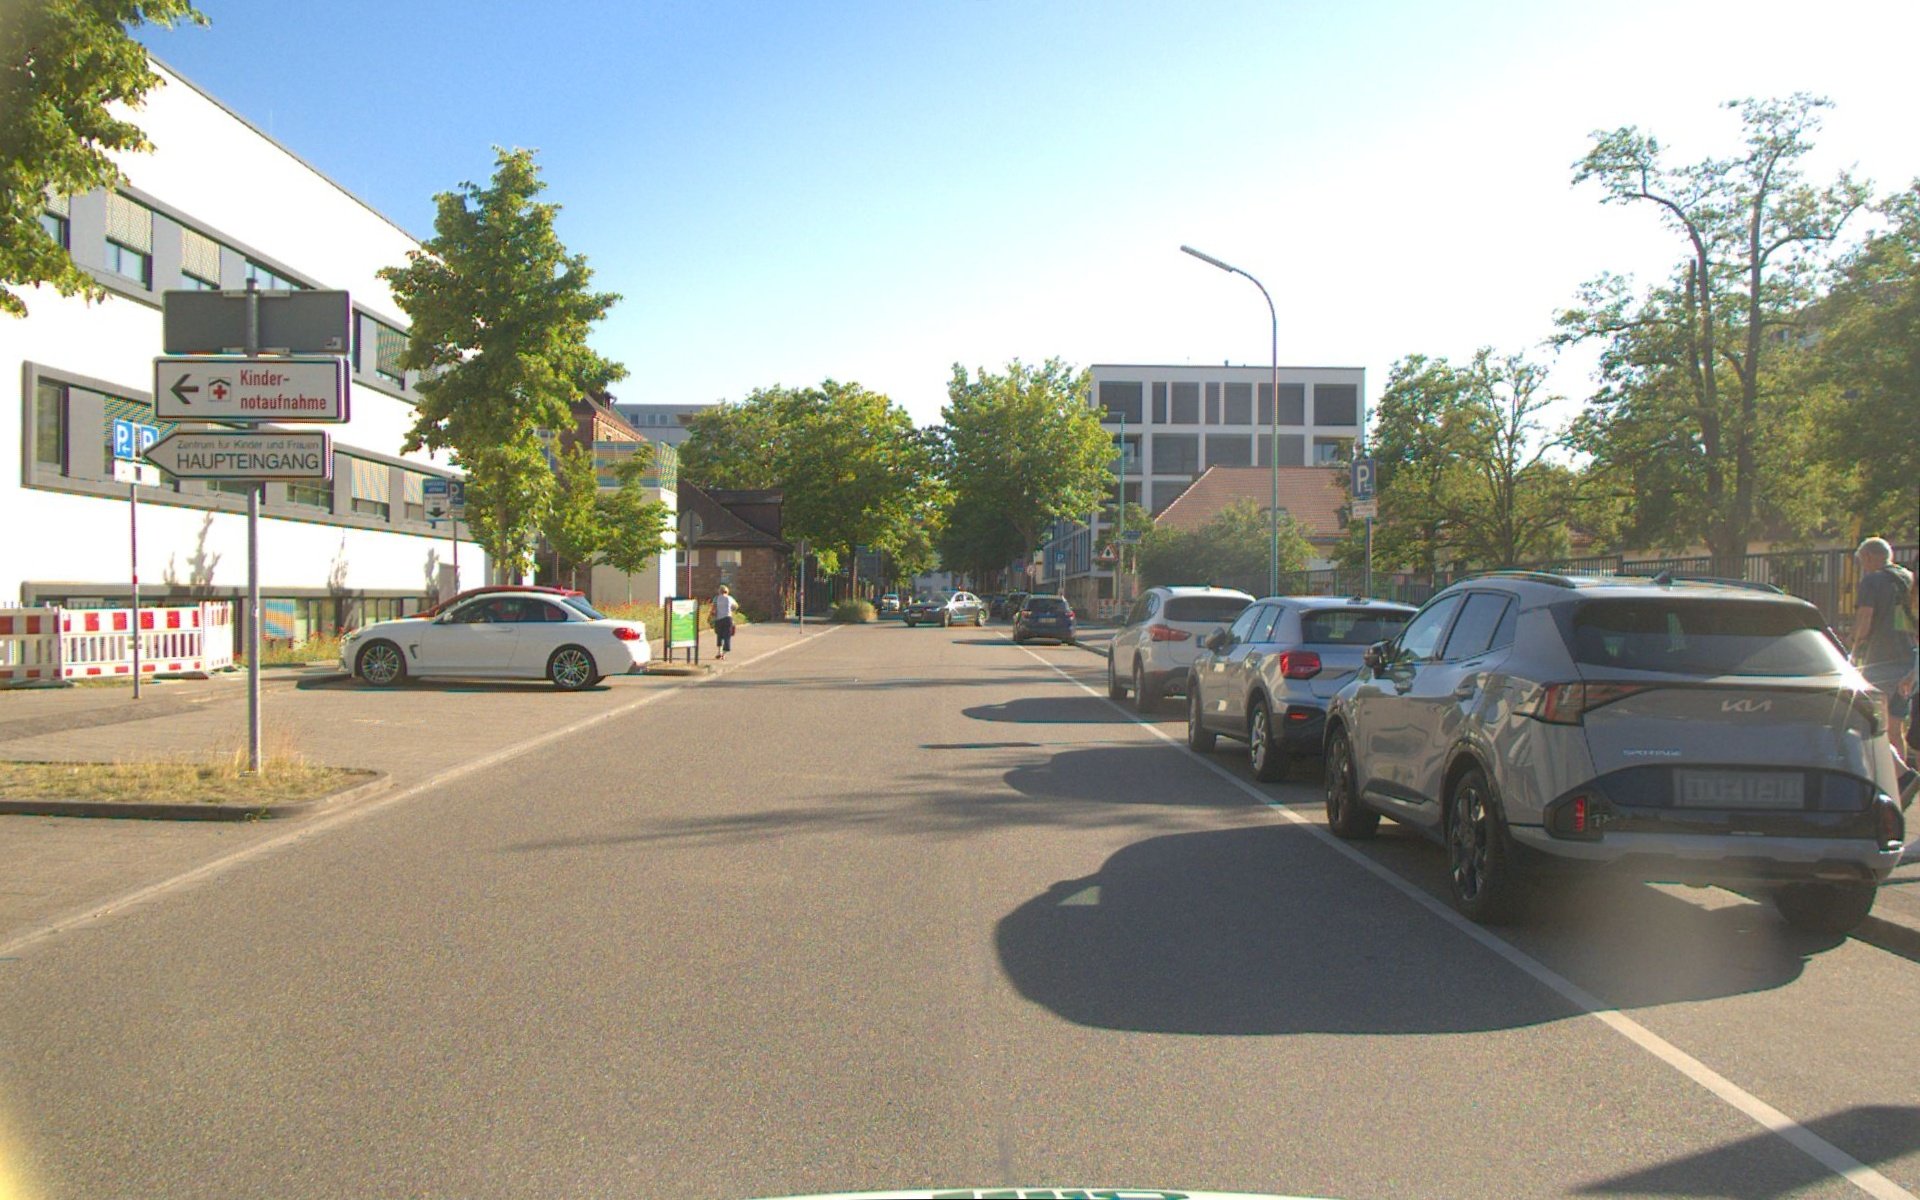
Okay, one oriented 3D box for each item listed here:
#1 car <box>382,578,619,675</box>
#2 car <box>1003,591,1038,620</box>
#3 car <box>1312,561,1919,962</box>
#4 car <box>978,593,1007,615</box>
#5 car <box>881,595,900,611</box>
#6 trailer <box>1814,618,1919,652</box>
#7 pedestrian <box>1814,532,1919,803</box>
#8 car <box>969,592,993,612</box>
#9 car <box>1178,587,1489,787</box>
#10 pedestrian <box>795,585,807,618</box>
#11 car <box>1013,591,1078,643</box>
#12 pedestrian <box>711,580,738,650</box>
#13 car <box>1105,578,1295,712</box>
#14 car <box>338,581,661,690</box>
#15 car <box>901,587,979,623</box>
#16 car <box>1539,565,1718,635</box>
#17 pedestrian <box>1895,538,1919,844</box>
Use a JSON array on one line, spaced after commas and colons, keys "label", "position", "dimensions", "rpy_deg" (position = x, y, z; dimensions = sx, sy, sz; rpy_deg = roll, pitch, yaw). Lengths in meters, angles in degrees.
[{"label": "car", "position": [-7.691, 0.429, 27.927], "dimensions": [3.564, 1.494, 1.612], "rpy_deg": [2, 1, -5]}, {"label": "car", "position": [3.279, 0.289, 90.481], "dimensions": [1.668, 1.494, 4.788], "rpy_deg": [1, 0, -1]}, {"label": "car", "position": [3.279, 0.661, 9.110], "dimensions": [1.666, 1.634, 4.352], "rpy_deg": [2, 0, -1]}, {"label": "car", "position": [2.202, 0.237, 111.612], "dimensions": [1.731, 1.465, 3.998], "rpy_deg": [0, 0, -2]}, {"label": "car", "position": [-6.365, 0.268, 151.089], "dimensions": [1.731, 1.513, 3.998], "rpy_deg": [0, 0, -2]}, {"label": "trailer", "position": [28.843, 1.082, 52.021], "dimensions": [1.857, 0.936, 5.113], "rpy_deg": [1, 0, 7]}, {"label": "pedestrian", "position": [6.091, 0.441, 10.979], "dimensions": [0.511, 1.738, 0.522], "rpy_deg": [2, -1, -3]}, {"label": "car", "position": [1.778, 0.160, 140.636], "dimensions": [1.910, 1.606, 3.836], "rpy_deg": [0, 0, 0]}, {"label": "car", "position": [3.201, 0.669, 14.969], "dimensions": [1.667, 1.513, 3.978], "rpy_deg": [2, 0, -4]}, {"label": "pedestrian", "position": [-7.897, 0.066, 82.017], "dimensions": [0.511, 1.590, 1.095], "rpy_deg": [0, 0, -2]}, {"label": "car", "position": [2.567, 0.484, 50.521], "dimensions": [1.780, 1.478, 4.214], "rpy_deg": [0, 1, 0]}, {"label": "pedestrian", "position": [-5.276, 0.328, 37.071], "dimensions": [0.527, 1.550, 0.607], "rpy_deg": [0, 0, 0]}, {"label": "car", "position": [3.168, 0.544, 22.684], "dimensions": [1.777, 1.616, 4.260], "rpy_deg": [2, 0, -3]}, {"label": "car", "position": [-6.862, 0.521, 25.028], "dimensions": [4.425, 1.391, 1.698], "rpy_deg": [3, 0, -6]}, {"label": "car", "position": [-0.789, 0.180, 69.032], "dimensions": [1.725, 1.467, 4.538], "rpy_deg": [0, 0, 21]}, {"label": "car", "position": [22.313, -0.022, 55.388], "dimensions": [5.173, 2.240, 2.002], "rpy_deg": [1, 1, 5]}, {"label": "pedestrian", "position": [5.537, 0.500, 8.988], "dimensions": [0.667, 1.640, 0.541], "rpy_deg": [2, -1, 19]}]
